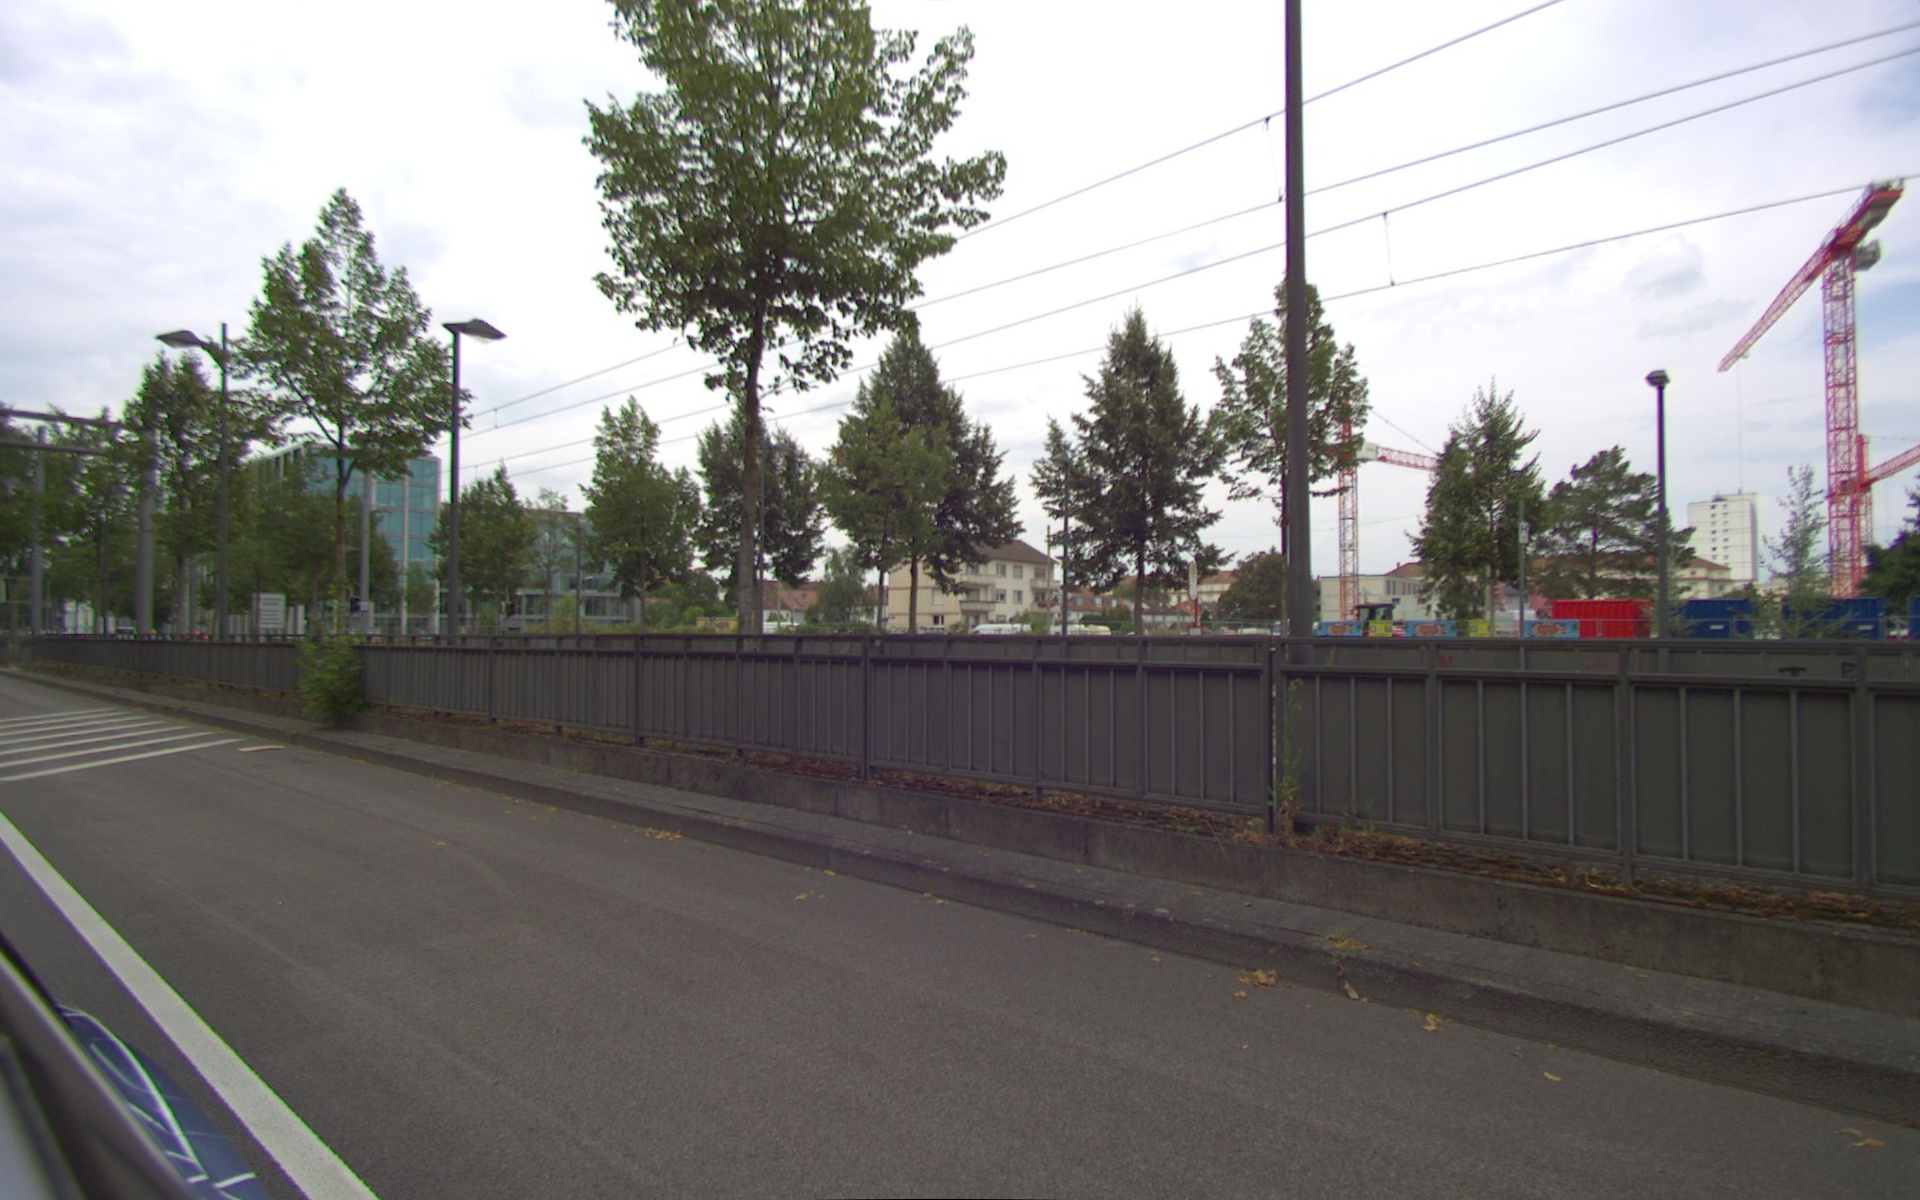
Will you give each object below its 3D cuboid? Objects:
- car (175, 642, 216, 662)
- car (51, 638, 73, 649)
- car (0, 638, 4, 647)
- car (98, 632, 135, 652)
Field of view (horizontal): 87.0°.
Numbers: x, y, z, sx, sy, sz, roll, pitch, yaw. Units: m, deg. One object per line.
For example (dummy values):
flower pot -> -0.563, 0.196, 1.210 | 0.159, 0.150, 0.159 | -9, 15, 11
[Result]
car -> -67.600, 4.559, 89.415 | 4.687, 1.669, 1.809 | -2, -3, 39
car -> -118.669, 5.723, 133.771 | 3.864, 1.468, 1.729 | -2, -3, 42
car -> -157.396, 6.864, 165.180 | 3.864, 1.468, 1.729 | -2, -3, 42
car -> -82.078, 4.068, 98.423 | 5.093, 1.959, 1.973 | -2, -3, 41
